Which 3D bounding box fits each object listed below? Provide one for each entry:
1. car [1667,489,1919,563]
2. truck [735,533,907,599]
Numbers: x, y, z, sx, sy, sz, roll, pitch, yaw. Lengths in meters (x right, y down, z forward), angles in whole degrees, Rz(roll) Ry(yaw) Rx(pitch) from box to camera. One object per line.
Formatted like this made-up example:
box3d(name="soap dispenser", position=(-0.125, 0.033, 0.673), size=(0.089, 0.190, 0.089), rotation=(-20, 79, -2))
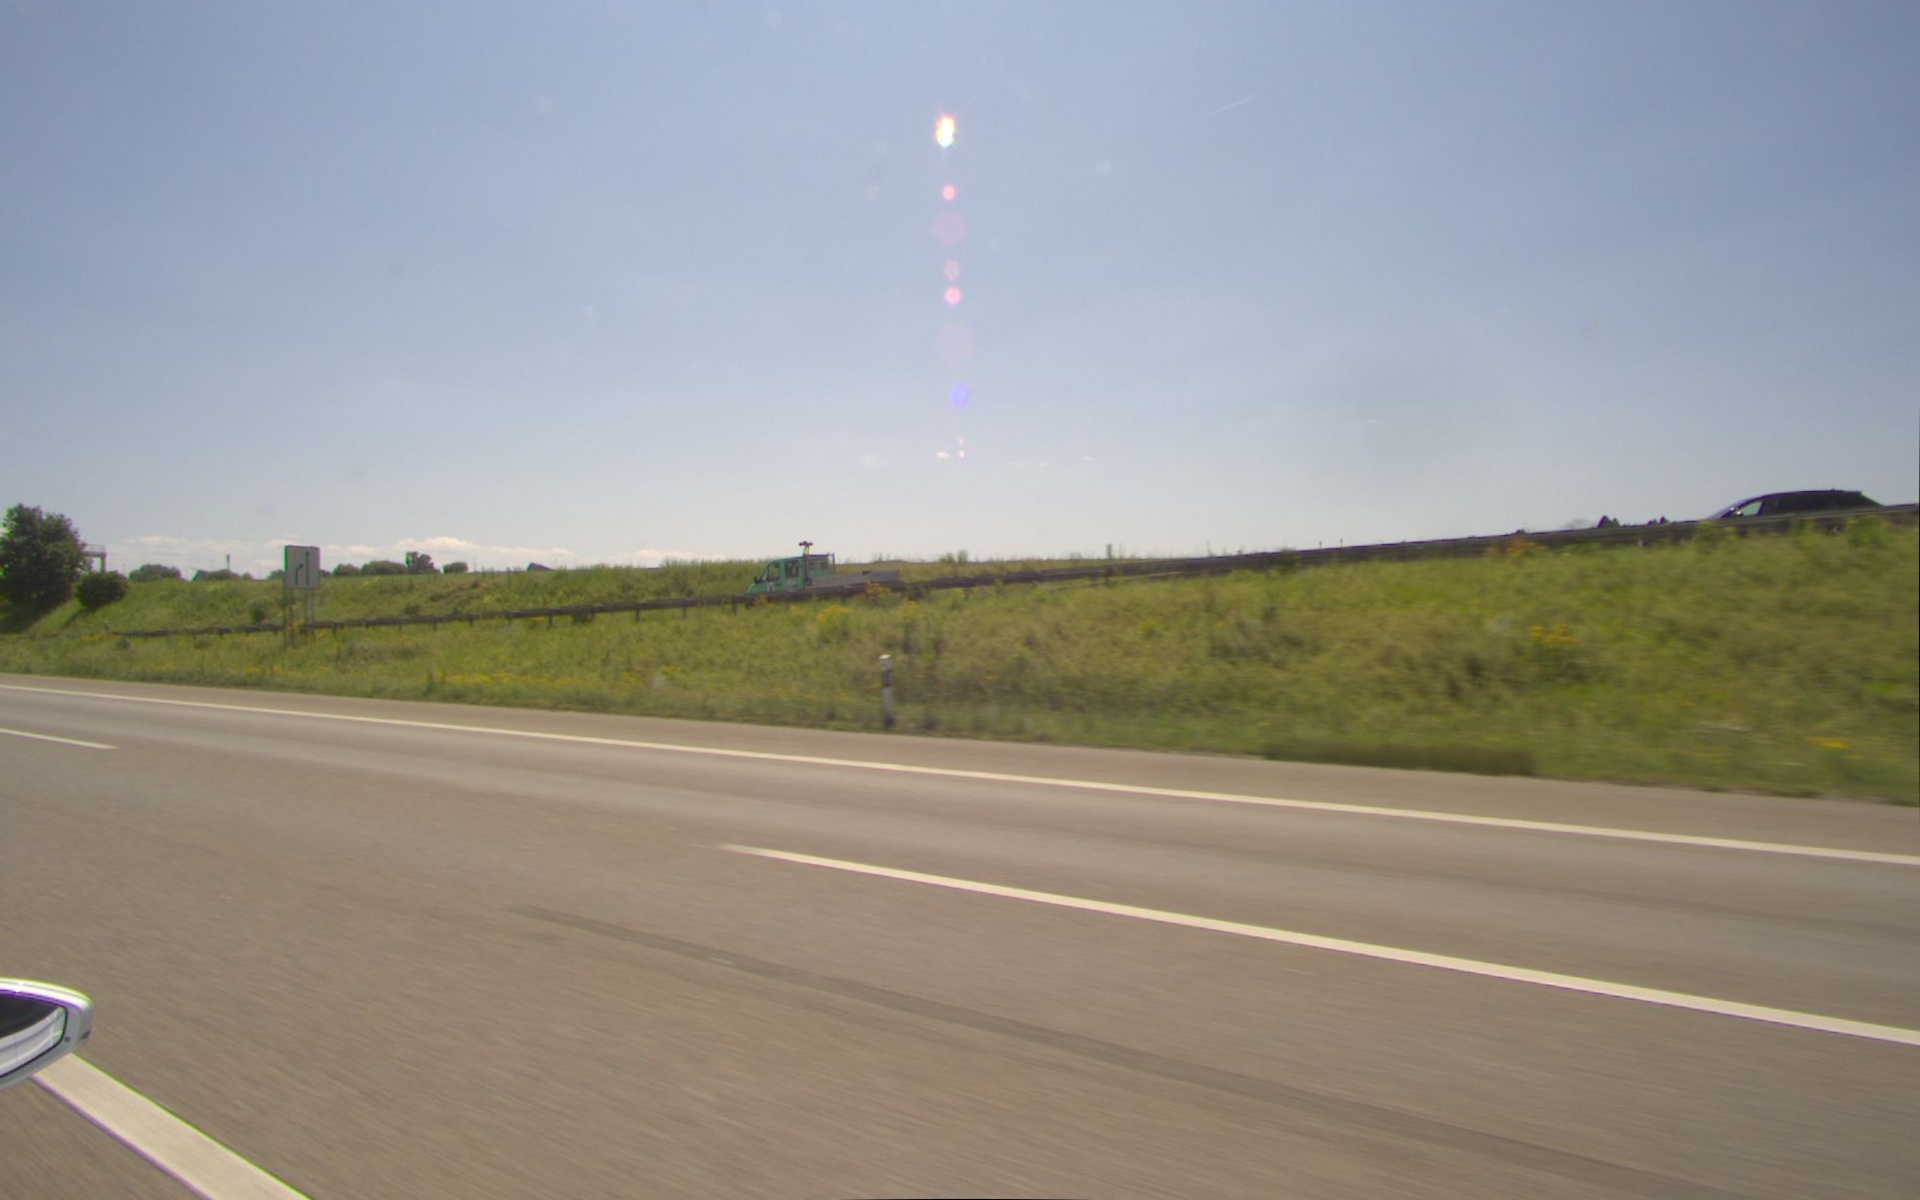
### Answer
box3d(name="car", position=(19.220, -1.656, 23.279), size=(4.227, 1.401, 1.994), rotation=(0, -1, 26))
box3d(name="truck", position=(-5.070, -1.155, 36.176), size=(6.021, 2.119, 2.164), rotation=(-1, -1, 27))
